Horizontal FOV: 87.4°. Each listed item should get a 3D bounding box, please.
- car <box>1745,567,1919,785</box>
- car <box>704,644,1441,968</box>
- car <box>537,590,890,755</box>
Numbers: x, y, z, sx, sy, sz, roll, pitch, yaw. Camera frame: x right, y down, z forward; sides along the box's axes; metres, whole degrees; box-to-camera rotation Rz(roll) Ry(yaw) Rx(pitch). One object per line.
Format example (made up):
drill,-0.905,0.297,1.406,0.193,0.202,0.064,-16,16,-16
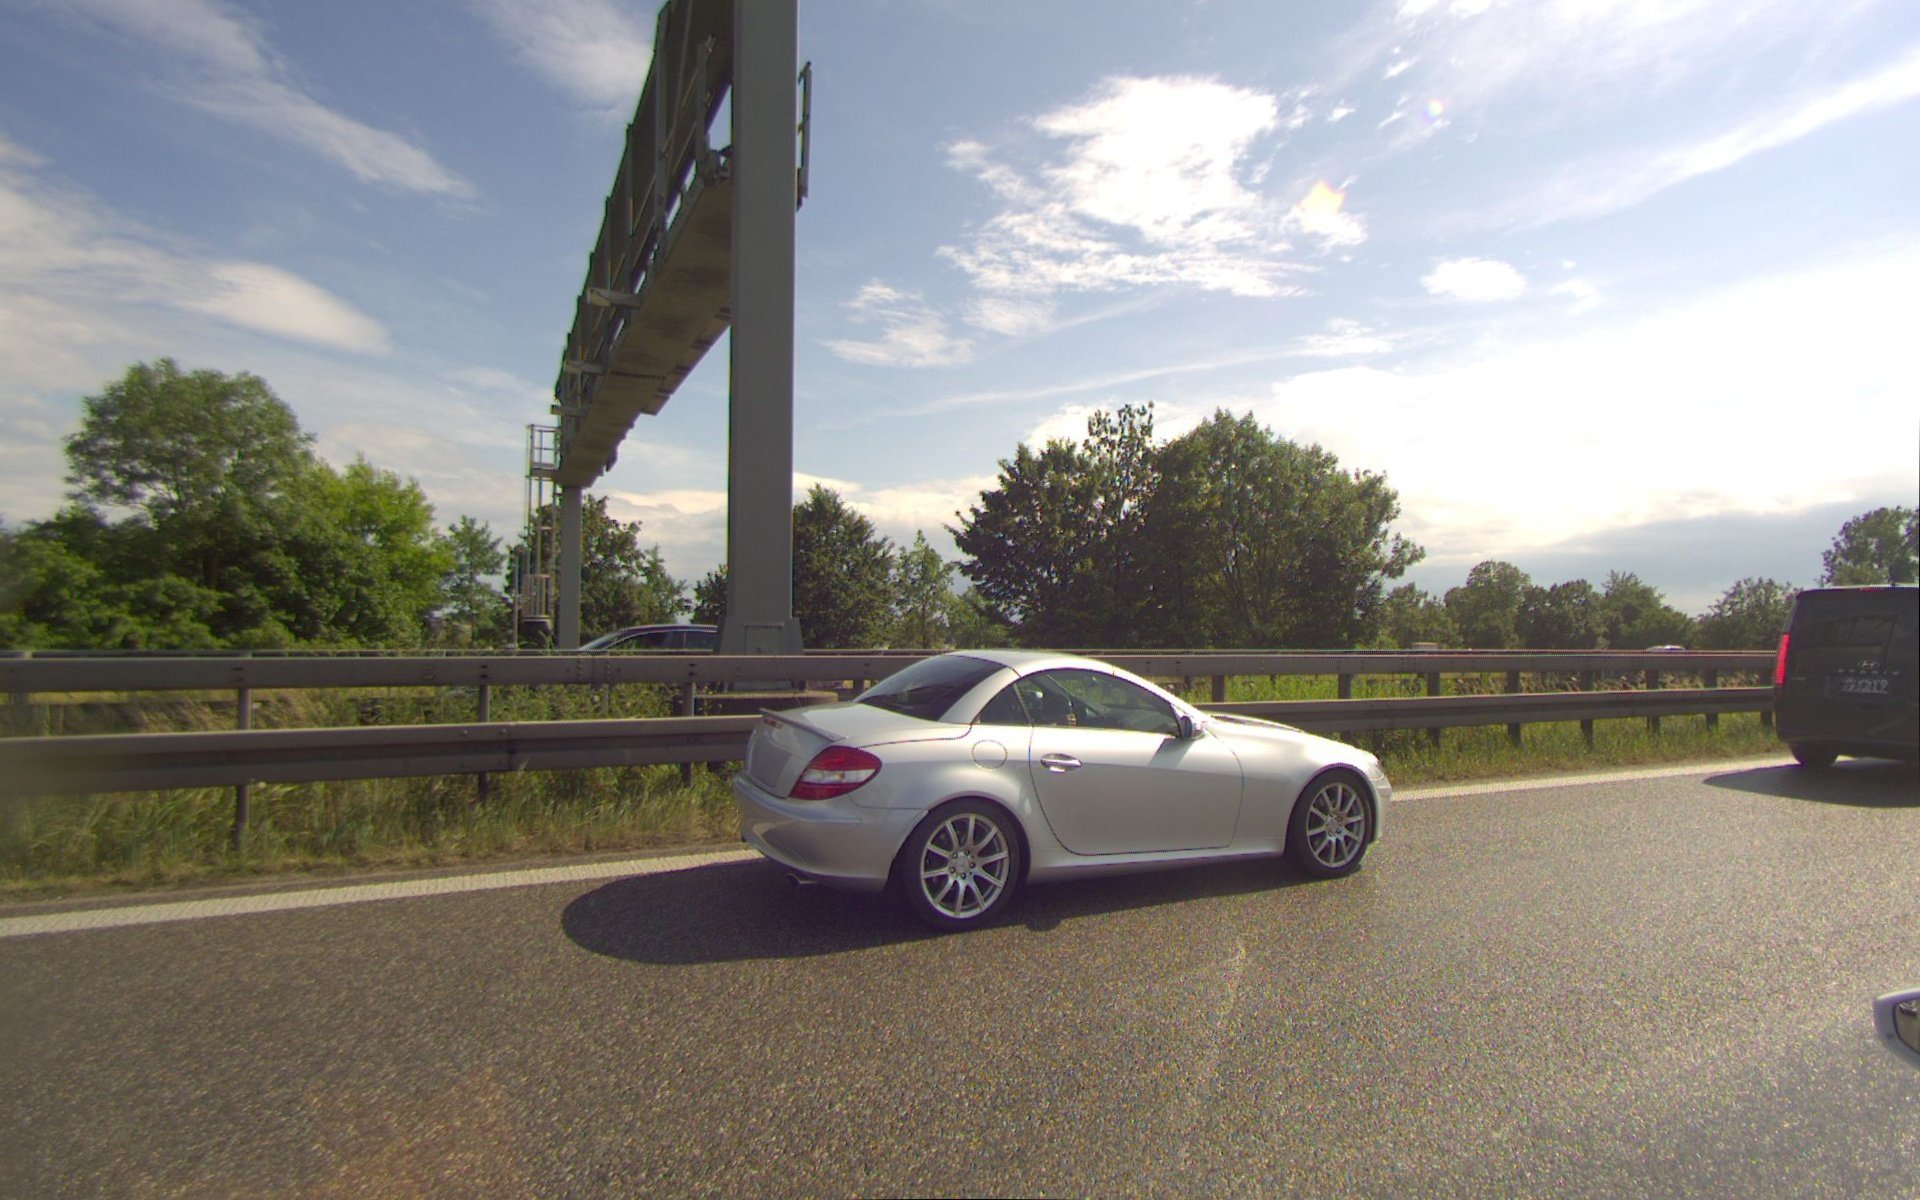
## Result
car,11.145,0.770,10.956,5.199,2.040,1.987,1,-1,-26
car,0.709,0.936,5.875,4.011,1.295,1.718,1,-1,-27
car,-3.067,0.819,12.458,3.946,1.758,1.988,1,-1,-25
